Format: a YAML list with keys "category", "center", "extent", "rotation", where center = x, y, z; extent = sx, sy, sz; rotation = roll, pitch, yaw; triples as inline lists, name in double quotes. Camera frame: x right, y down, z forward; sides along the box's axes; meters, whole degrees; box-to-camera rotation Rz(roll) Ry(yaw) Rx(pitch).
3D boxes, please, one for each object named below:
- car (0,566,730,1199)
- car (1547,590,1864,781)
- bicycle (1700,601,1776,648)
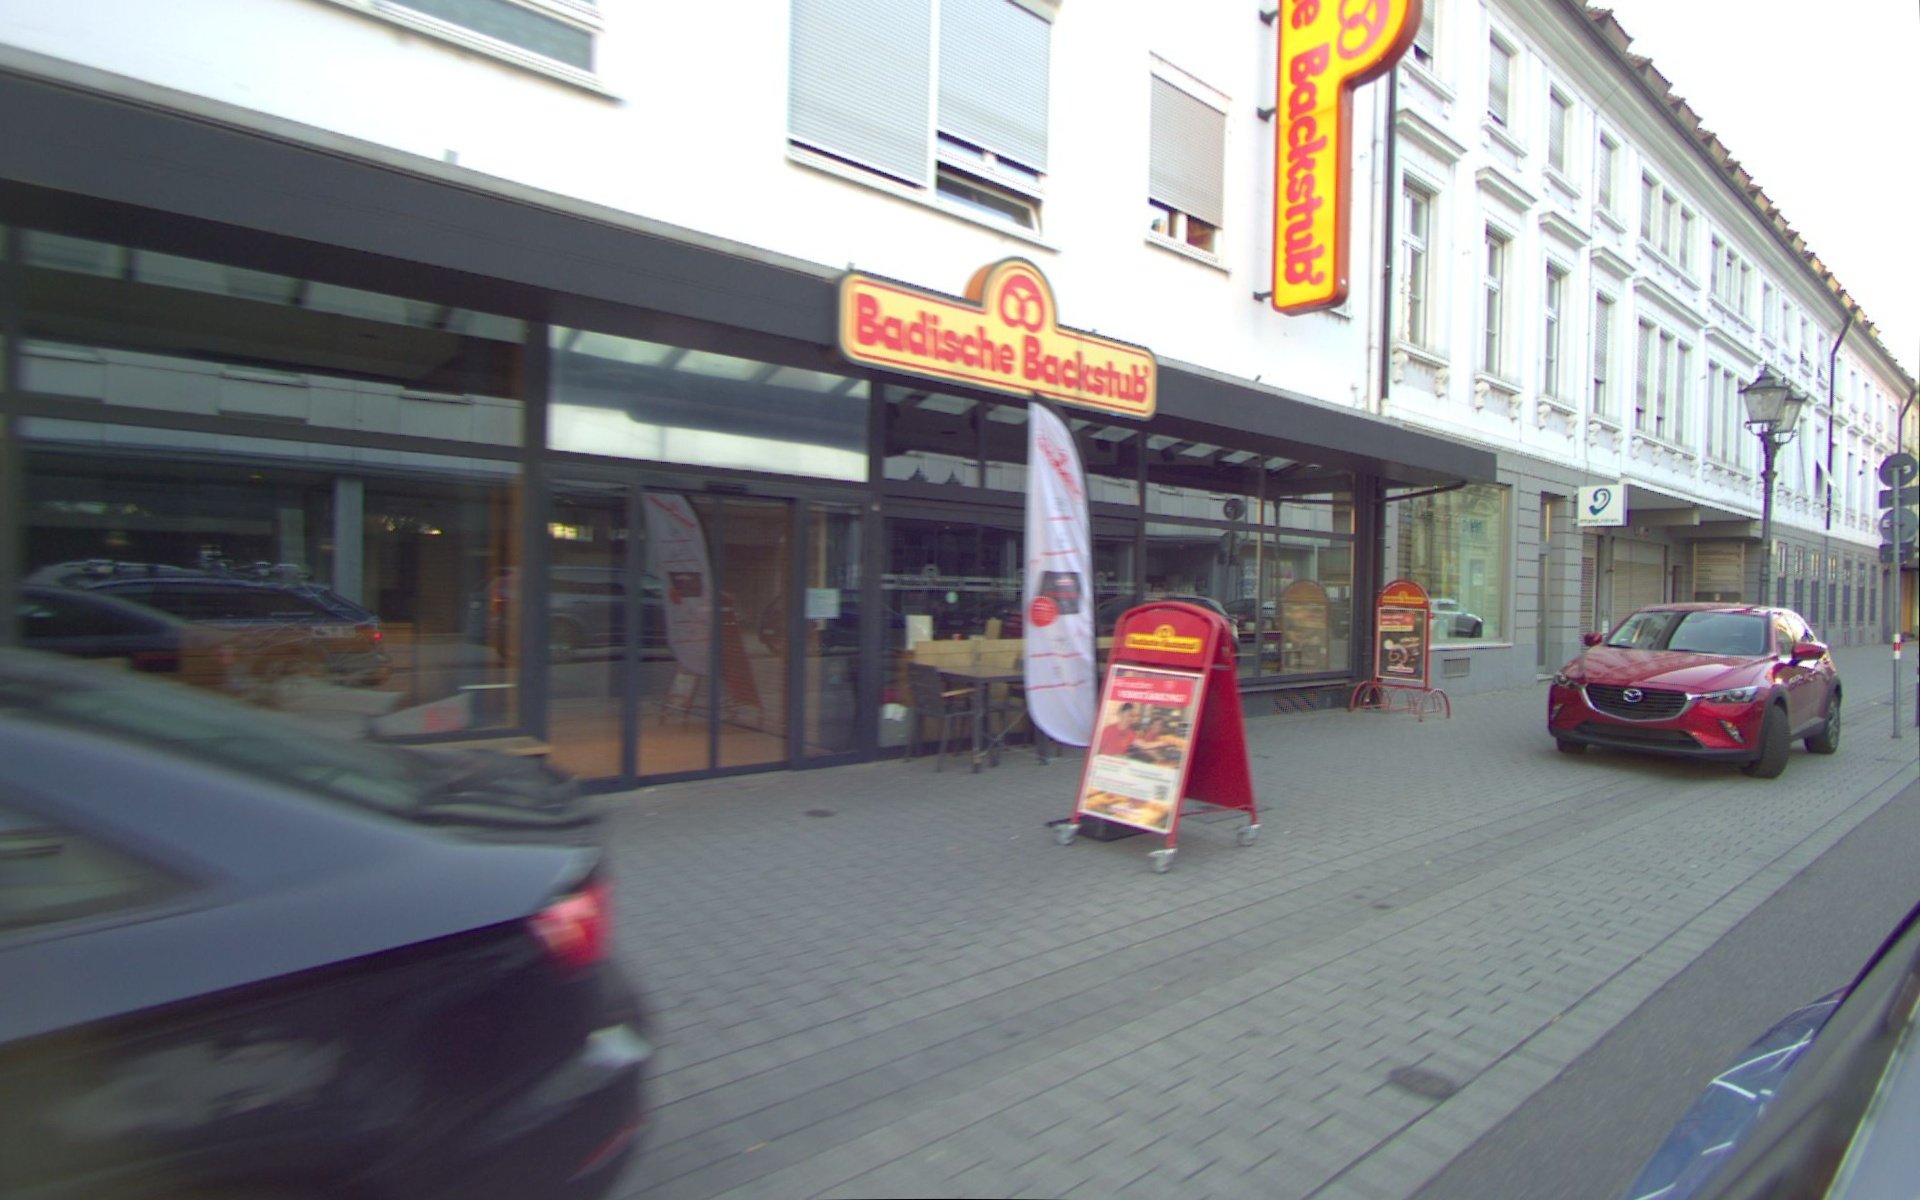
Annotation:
- category: "car"
  center: [-2.528, 0.683, 1.198]
  extent: [4.048, 1.482, 1.804]
  rotation: [0, 2, -43]
- category: "car"
  center: [7.625, 0.712, 10.244]
  extent: [3.612, 1.542, 1.763]
  rotation: [0, 1, -40]
- category: "bicycle"
  center: [22.199, 0.685, 28.895]
  extent: [0.431, 1.268, 1.659]
  rotation: [1, 0, -42]
